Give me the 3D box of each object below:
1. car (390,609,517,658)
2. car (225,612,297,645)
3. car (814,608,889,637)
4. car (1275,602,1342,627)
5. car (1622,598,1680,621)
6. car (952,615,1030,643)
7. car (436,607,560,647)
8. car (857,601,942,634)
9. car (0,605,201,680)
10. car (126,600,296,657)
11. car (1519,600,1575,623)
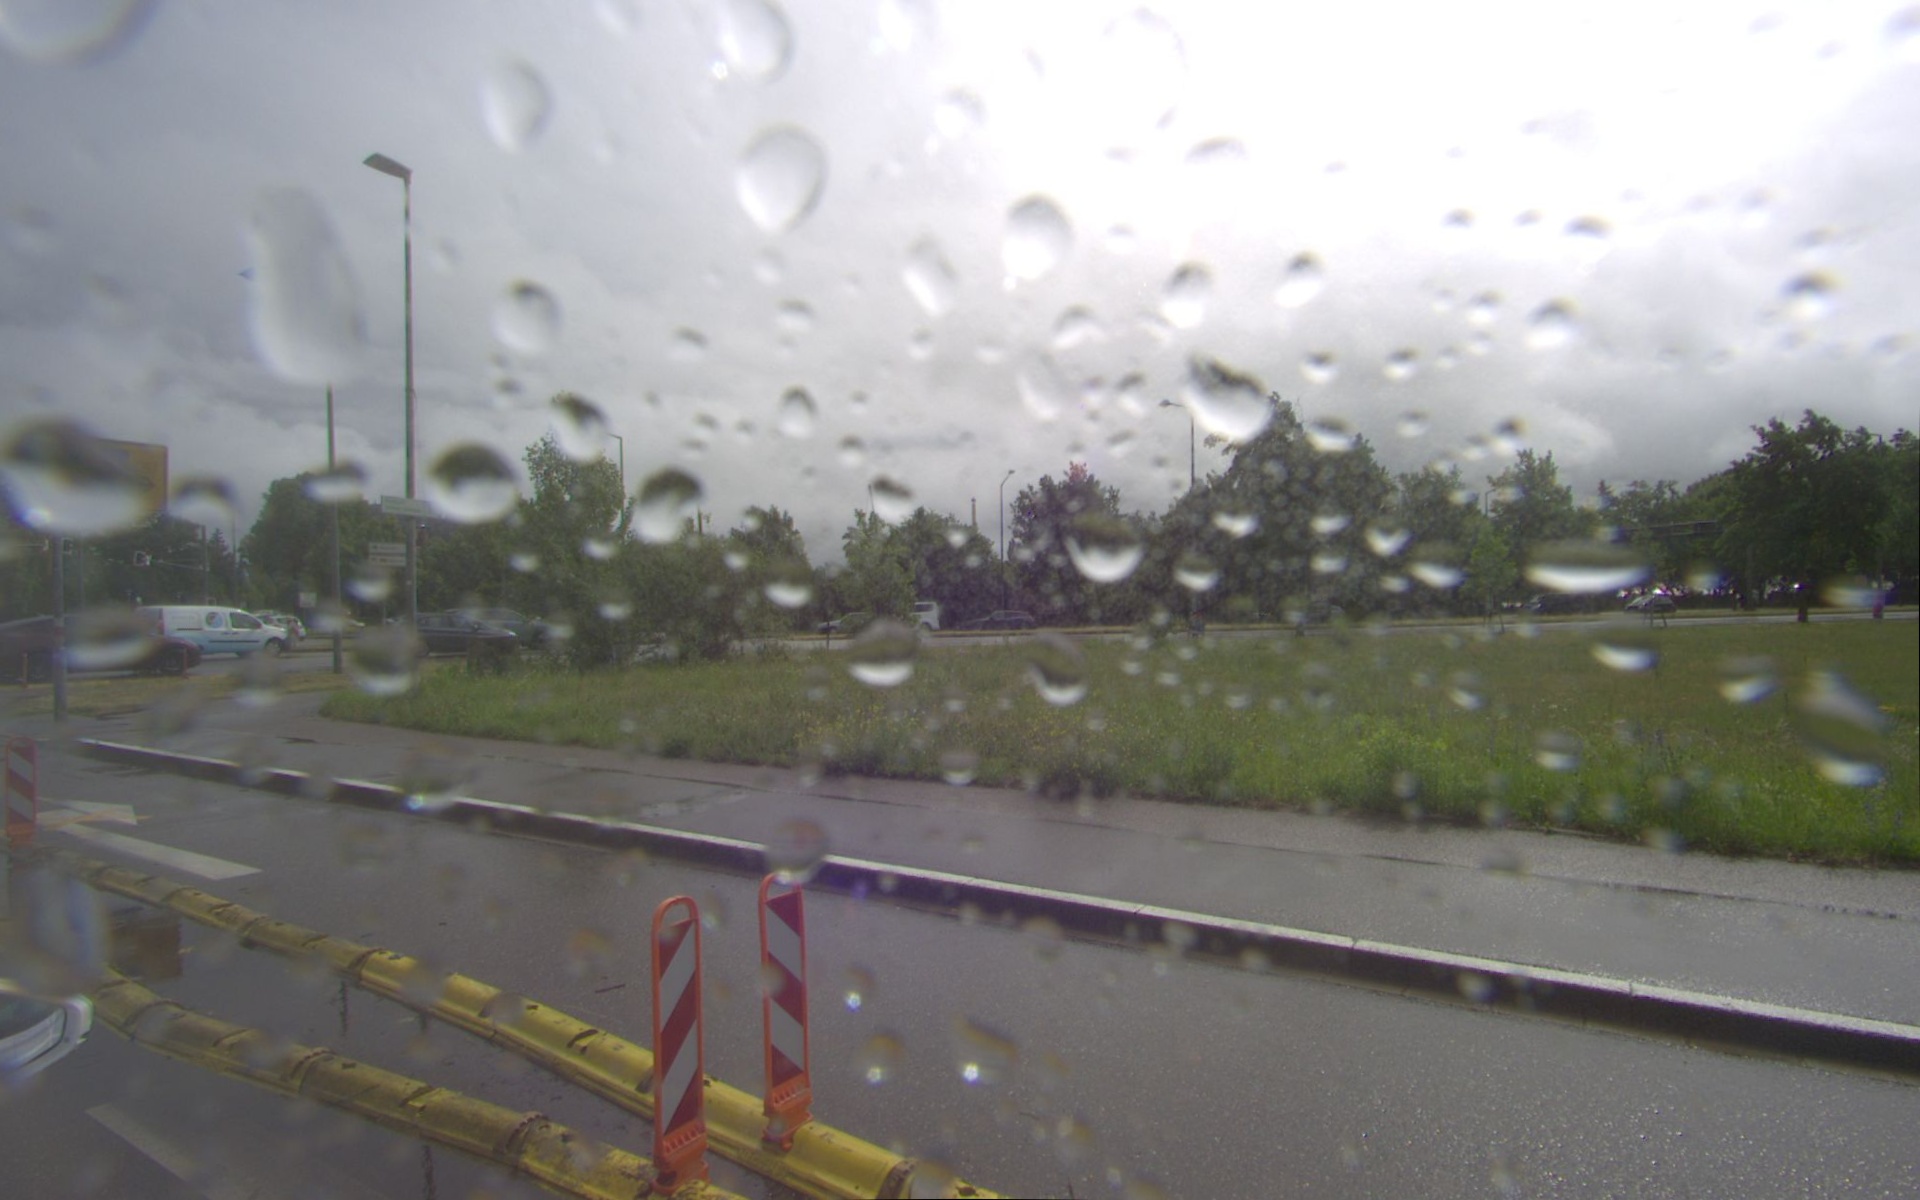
[{"bbox_3d":[-18.430,1.188,36.502,3.906,1.666,1.659,0,0,-37],"label":"car"},{"bbox_3d":[-40.872,1.678,58.549,3.942,1.854,1.990,-1,0,31],"label":"car"},{"bbox_3d":[-6.264,1.290,57.721,4.042,1.581,1.910,-1,0,-18],"label":"car"},{"bbox_3d":[23.805,0.974,68.499,4.158,1.579,1.541,-1,0,-14],"label":"car"},{"bbox_3d":[50.435,0.700,73.114,3.459,1.579,1.541,-1,0,-14],"label":"car"},{"bbox_3d":[1.831,1.709,59.616,4.226,1.581,1.912,-1,0,-14],"label":"car"},{"bbox_3d":[-18.795,1.062,40.791,4.348,1.568,1.857,0,-1,-36],"label":"car"},{"bbox_3d":[-3.717,1.056,61.357,4.873,1.944,1.997,-1,0,-16],"label":"car"},{"bbox_3d":[-22.564,1.029,25.826,1.970,1.748,4.335,-1,0,30],"label":"car"},{"bbox_3d":[-25.779,0.936,34.648,1.838,1.833,4.393,0,-1,21],"label":"car"},{"bbox_3d":[43.192,0.831,73.748,3.459,1.579,1.541,-1,0,-14],"label":"car"}]
